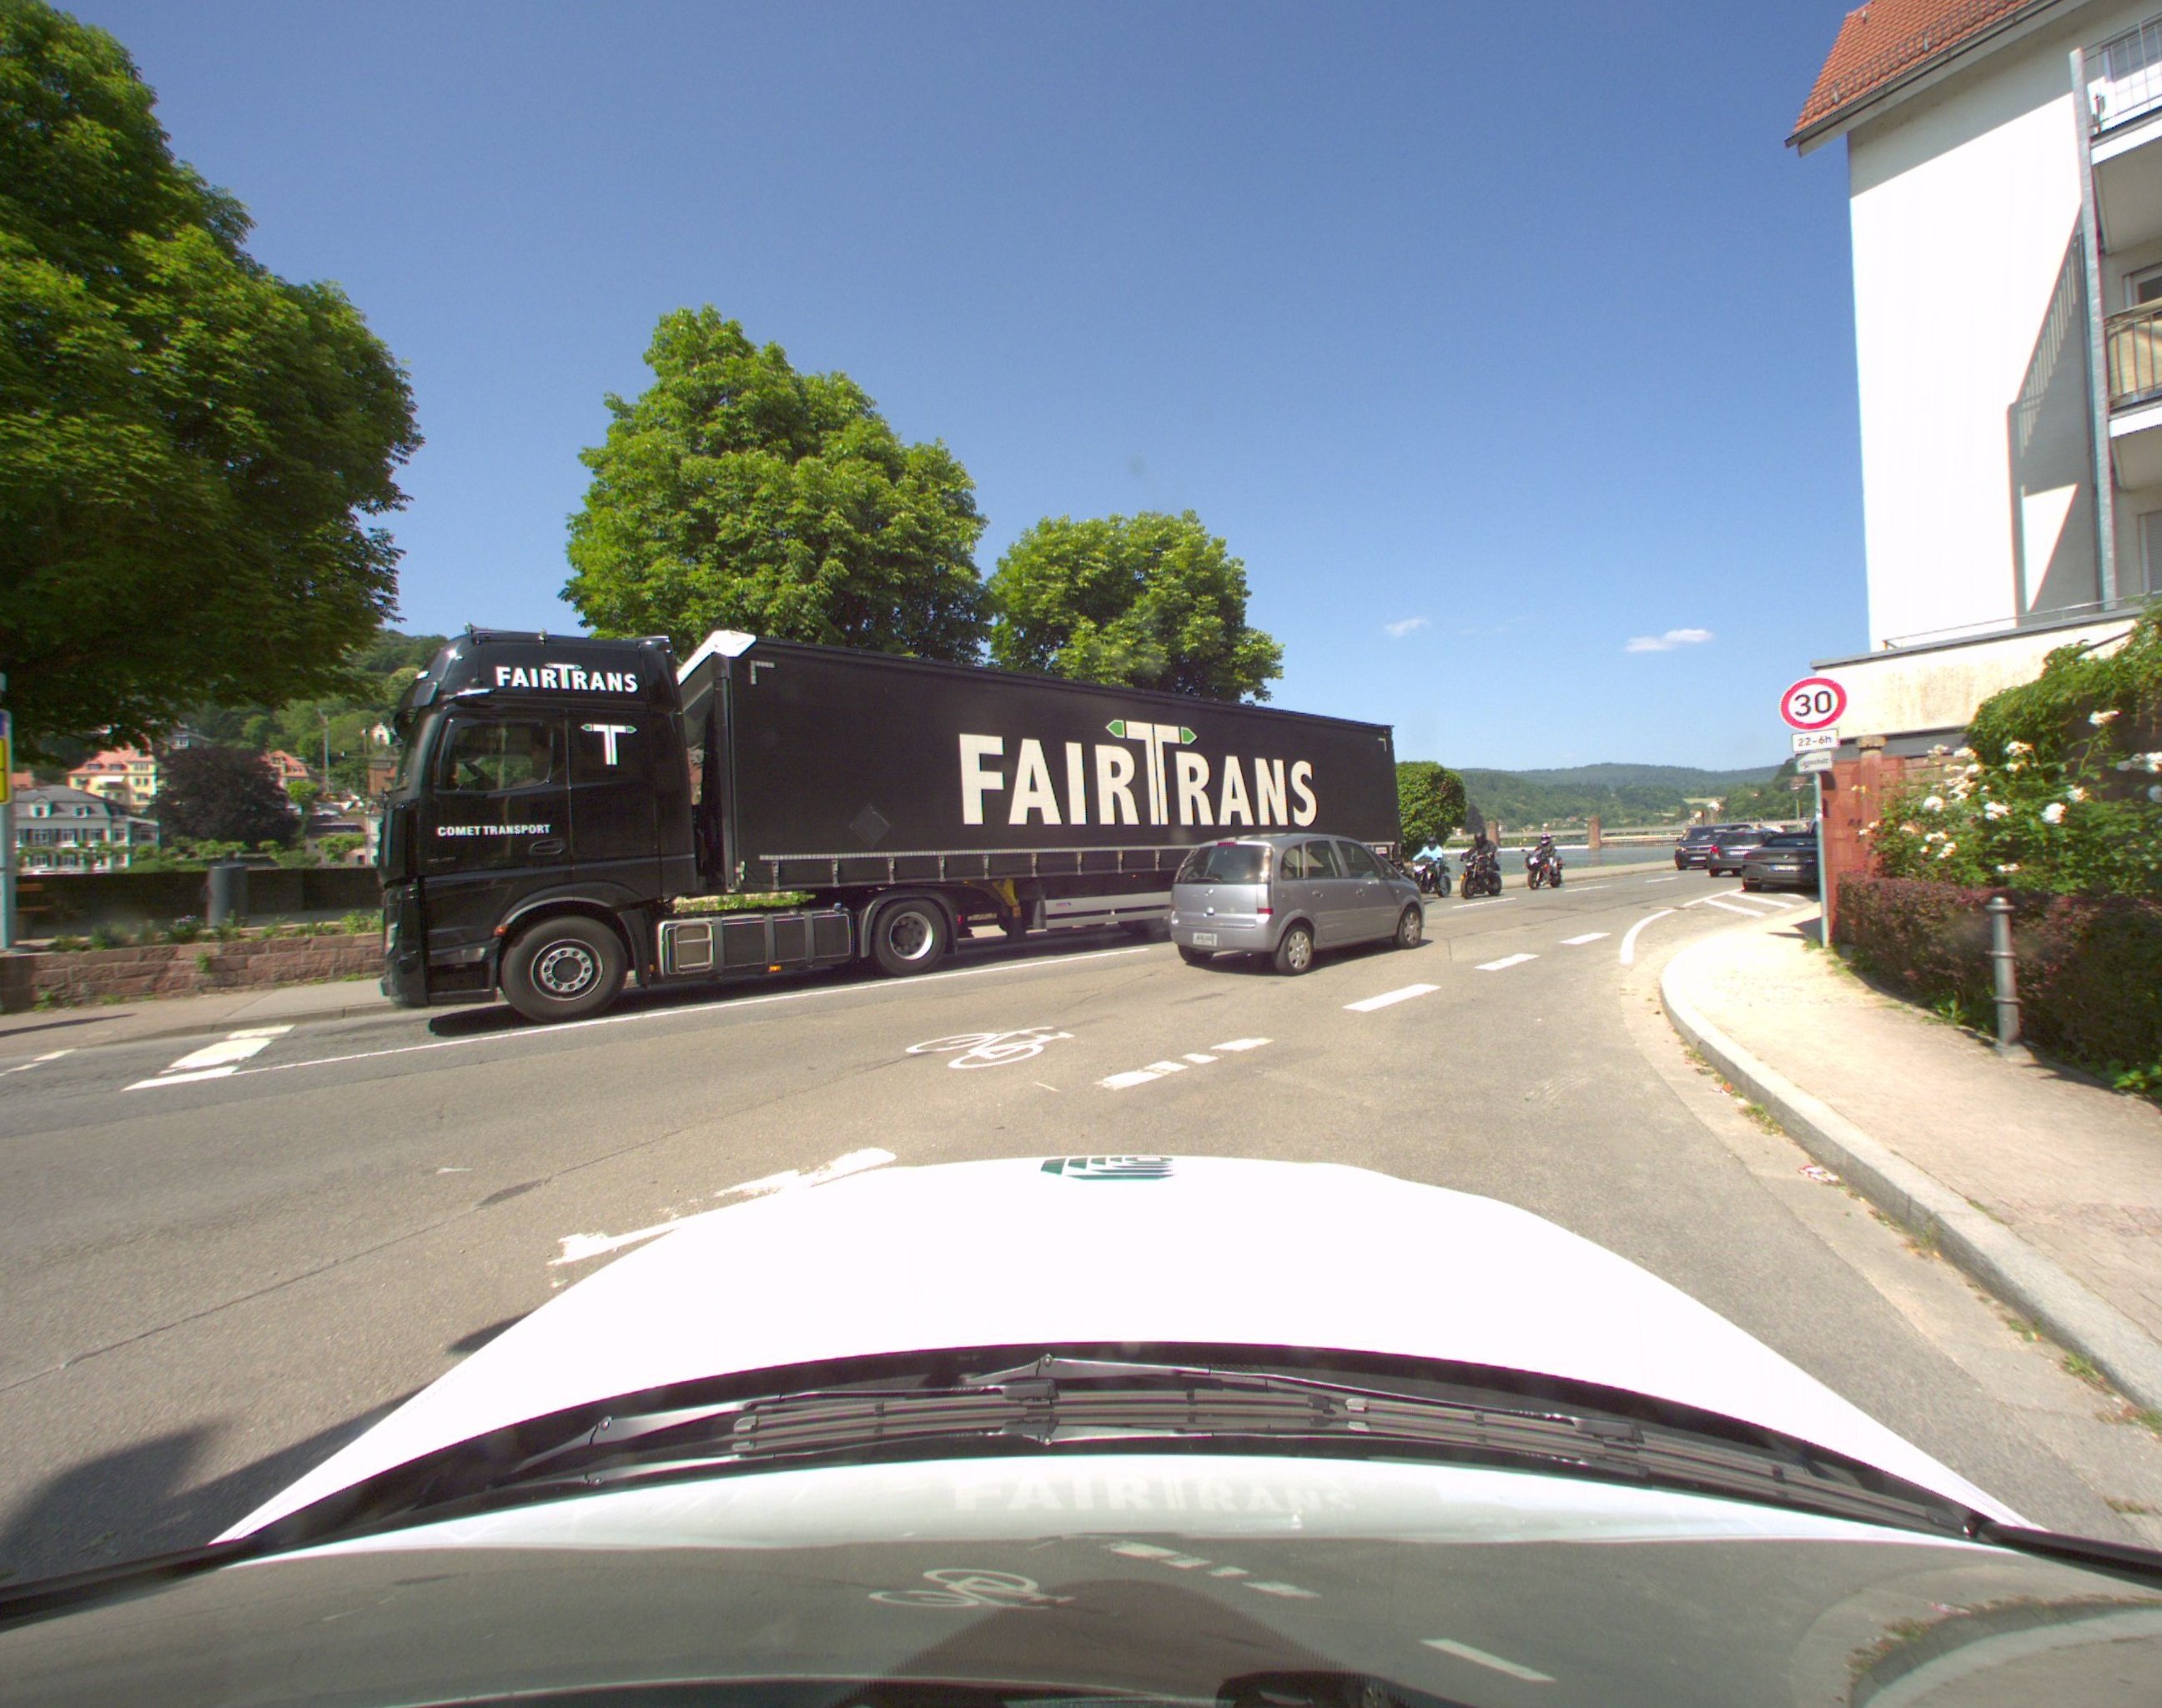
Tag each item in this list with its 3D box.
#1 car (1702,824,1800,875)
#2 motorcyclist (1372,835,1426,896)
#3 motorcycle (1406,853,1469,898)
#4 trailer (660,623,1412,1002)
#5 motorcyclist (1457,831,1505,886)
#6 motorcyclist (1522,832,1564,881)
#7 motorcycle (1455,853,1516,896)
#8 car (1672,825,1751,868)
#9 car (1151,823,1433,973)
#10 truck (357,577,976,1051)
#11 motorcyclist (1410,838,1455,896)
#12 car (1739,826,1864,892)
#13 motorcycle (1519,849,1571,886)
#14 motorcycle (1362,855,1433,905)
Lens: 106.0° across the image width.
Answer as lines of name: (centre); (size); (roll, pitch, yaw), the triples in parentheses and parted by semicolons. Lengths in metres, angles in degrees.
car: (21.541, -0.163, 26.127); (3.901, 1.498, 1.707); (-2, -1, -40)
motorcyclist: (7.924, 0.287, 20.281); (0.996, 1.460, 0.772); (-2, -2, -39)
motorcycle: (9.761, 0.572, 22.289); (2.103, 1.123, 0.628); (-2, -3, -40)
trailer: (0.666, -0.589, 14.204); (13.840, 4.104, 2.809); (-2, -2, -39)
motorcyclist: (10.195, 0.122, 20.748); (0.804, 1.366, 0.780); (-2, -1, -39)
motorcyclist: (13.454, 0.078, 23.708); (0.941, 1.366, 0.711); (-2, -1, -39)
motorcycle: (10.331, 0.515, 20.768); (1.824, 1.024, 0.651); (-2, -1, -39)
car: (26.540, -0.325, 34.259); (3.792, 1.669, 1.753); (-2, 0, -39)
car: (2.848, 0.437, 10.606); (3.759, 1.610, 1.673); (-2, 0, -40)
truck: (-4.675, -0.366, 9.935); (5.962, 4.071, 2.806); (-2, -2, -39)
motorcyclist: (9.602, 0.354, 22.214); (0.996, 1.525, 0.657); (-2, -2, -40)
car: (17.042, 0.073, 19.218); (3.759, 1.399, 1.673); (-2, 0, -40)
motorcycle: (13.562, 0.386, 23.777); (1.824, 1.024, 0.651); (-2, -1, -39)
motorcycle: (7.880, 0.622, 20.259); (2.103, 1.123, 0.628); (-2, -3, -40)
